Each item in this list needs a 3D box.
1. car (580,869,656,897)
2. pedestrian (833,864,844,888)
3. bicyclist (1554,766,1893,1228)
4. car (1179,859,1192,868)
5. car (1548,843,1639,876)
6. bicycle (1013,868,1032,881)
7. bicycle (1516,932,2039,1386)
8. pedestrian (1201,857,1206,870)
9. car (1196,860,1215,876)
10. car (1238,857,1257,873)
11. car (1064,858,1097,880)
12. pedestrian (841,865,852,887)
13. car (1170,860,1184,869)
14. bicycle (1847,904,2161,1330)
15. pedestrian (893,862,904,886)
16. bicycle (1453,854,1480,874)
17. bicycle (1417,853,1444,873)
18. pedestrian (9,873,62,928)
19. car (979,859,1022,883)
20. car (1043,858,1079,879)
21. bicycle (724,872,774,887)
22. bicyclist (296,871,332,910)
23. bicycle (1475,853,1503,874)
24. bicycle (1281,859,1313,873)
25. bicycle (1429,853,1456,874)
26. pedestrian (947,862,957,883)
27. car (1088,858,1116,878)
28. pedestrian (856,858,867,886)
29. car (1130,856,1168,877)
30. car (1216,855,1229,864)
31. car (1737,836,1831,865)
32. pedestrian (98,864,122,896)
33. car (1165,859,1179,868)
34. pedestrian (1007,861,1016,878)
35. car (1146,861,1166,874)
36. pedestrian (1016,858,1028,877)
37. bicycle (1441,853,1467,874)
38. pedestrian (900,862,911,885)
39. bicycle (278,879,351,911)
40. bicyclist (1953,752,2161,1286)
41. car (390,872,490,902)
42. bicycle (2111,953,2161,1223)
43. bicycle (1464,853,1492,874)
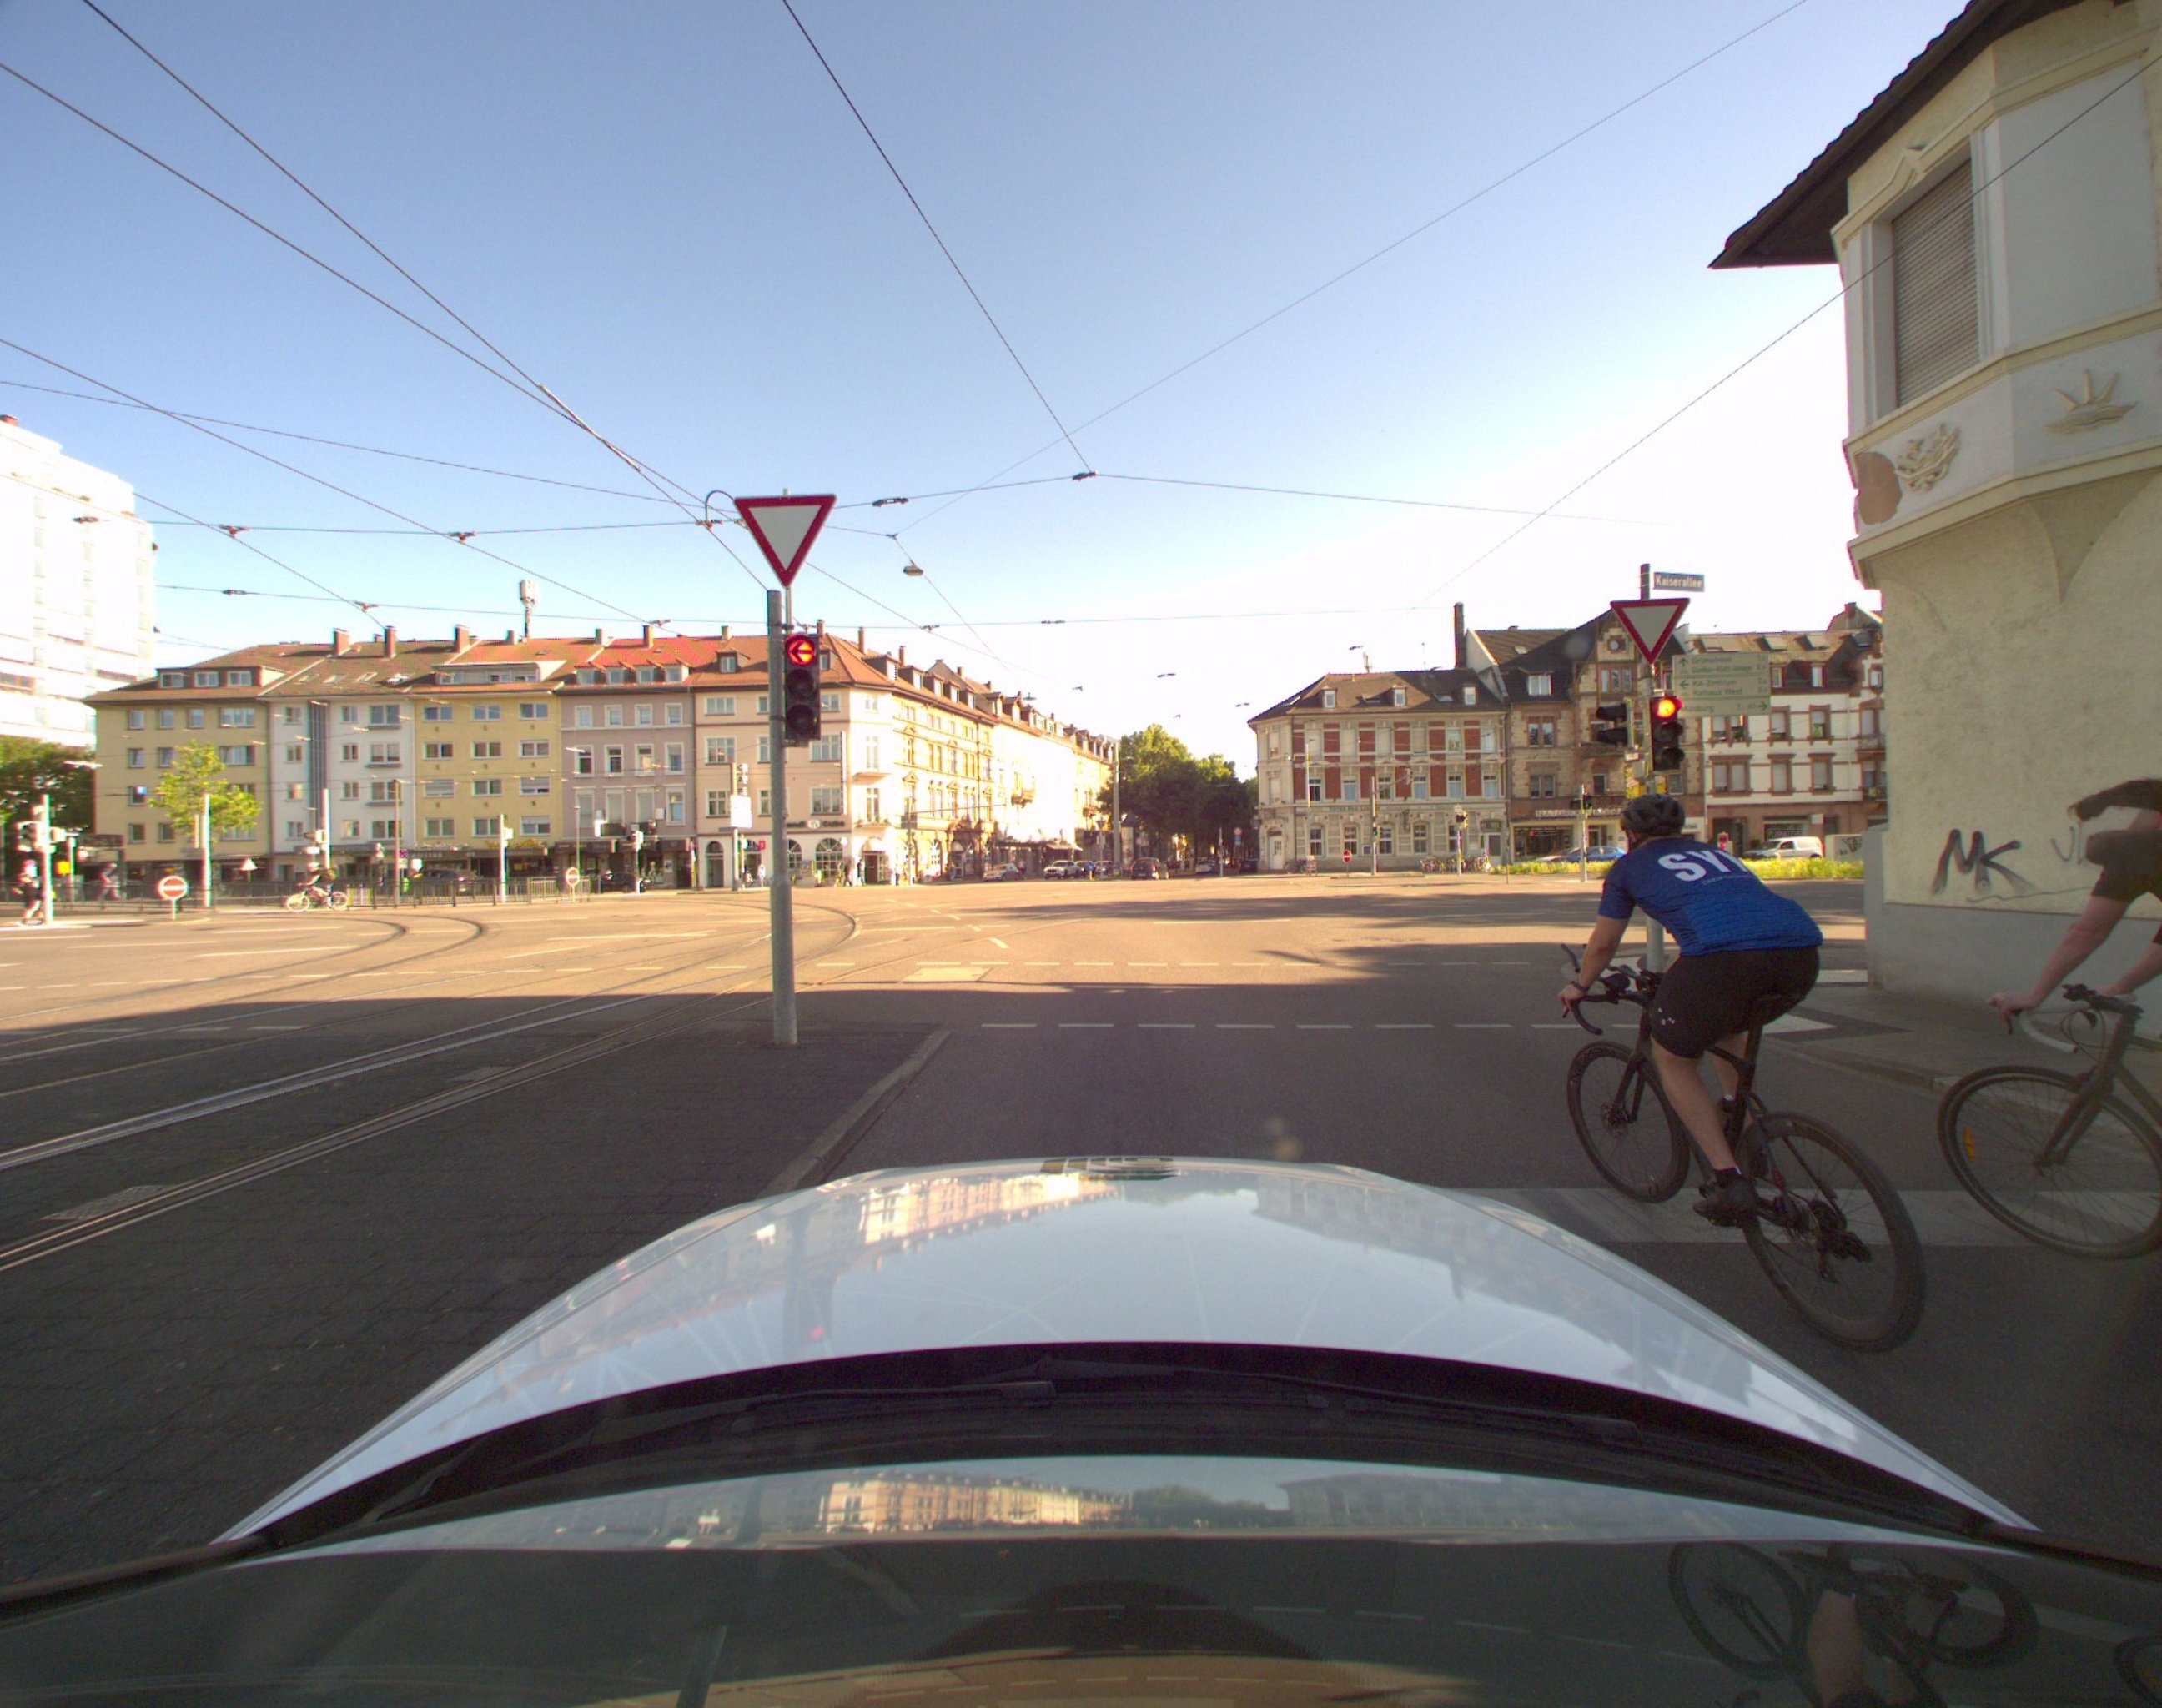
[{"bbox_3d":[-30.585,1.917,53.817,3.962,1.670,2.006,-2,0,10],"label":"car"},{"bbox_3d":[-16.525,1.464,55.430,0.631,1.612,0.465,0,-1,-2],"label":"pedestrian"},{"bbox_3d":[2.340,0.456,3.093,0.635,1.494,0.885,0,1,6],"label":"bicyclist"},{"bbox_3d":[18.279,1.718,142.176,1.546,1.513,3.673,-1,-1,19],"label":"car"},{"bbox_3d":[28.346,0.302,45.133,3.769,1.778,2.000,0,-1,1],"label":"car"},{"bbox_3d":[-4.727,1.635,65.556,0.756,1.008,2.406,-1,-1,16],"label":"bicycle"},{"bbox_3d":[2.368,0.917,3.097,0.623,1.085,1.705,0,-1,5],"label":"bicycle"},{"bbox_3d":[16.553,1.309,109.947,0.635,1.796,0.492,-1,-1,14],"label":"pedestrian"},{"bbox_3d":[11.963,1.322,78.532,1.762,1.530,4.009,0,-1,8],"label":"car"},{"bbox_3d":[16.825,1.134,82.359,1.680,1.565,3.855,-1,-1,14],"label":"car"},{"bbox_3d":[-0.011,1.369,73.822,1.979,1.904,4.015,-1,-1,14],"label":"car"},{"bbox_3d":[-15.746,1.453,54.728,0.631,1.477,0.465,0,-1,-2],"label":"pedestrian"},{"bbox_3d":[16.045,1.685,136.039,1.546,1.513,3.673,-1,-1,19],"label":"car"},{"bbox_3d":[3.661,0.829,2.639,0.752,1.236,1.702,0,-1,0],"label":"bicycle"},{"bbox_3d":[-12.633,1.361,56.364,0.631,1.634,0.700,0,-1,-2],"label":"pedestrian"},{"bbox_3d":[24.778,0.630,52.383,0.626,1.287,2.663,0,-1,3],"label":"bicycle"},{"bbox_3d":[22.482,0.581,52.467,0.689,1.287,2.663,0,-1,3],"label":"bicycle"},{"bbox_3d":[-31.698,1.395,24.701,0.697,1.634,0.681,0,-1,-3],"label":"pedestrian"},{"bbox_3d":[-6.639,1.366,67.412,1.977,1.904,4.019,-1,-1,19],"label":"car"},{"bbox_3d":[-1.626,1.188,67.585,1.979,1.618,4.015,-1,-1,14],"label":"car"},{"bbox_3d":[-23.421,1.789,57.465,3.118,0.980,1.002,0,-1,1],"label":"bicycle"},{"bbox_3d":[-27.289,1.284,28.988,0.553,1.366,0.808,-1,-1,33],"label":"bicyclist"},{"bbox_3d":[26.201,0.611,52.350,0.626,1.287,2.663,0,-1,3],"label":"bicycle"},{"bbox_3d":[15.086,0.828,56.887,2.040,0.998,0.631,-1,-1,4],"label":"bicycle"},{"bbox_3d":[23.264,0.592,52.418,0.689,1.287,2.663,0,-1,3],"label":"bicycle"},{"bbox_3d":[-10.336,1.474,65.295,0.539,1.631,0.709,-1,-1,15],"label":"pedestrian"},{"bbox_3d":[2.085,1.403,79.972,1.979,1.904,4.015,-1,-1,14],"label":"car"},{"bbox_3d":[-15.090,1.219,55.873,0.631,1.881,0.465,0,-1,-2],"label":"pedestrian"},{"bbox_3d":[4.631,0.822,54.812,1.740,1.362,3.873,-1,-1,18],"label":"car"},{"bbox_3d":[23.287,0.914,134.315,1.546,1.513,3.673,-1,-1,19],"label":"car"},{"bbox_3d":[45.315,-0.227,52.563,4.349,1.778,2.000,0,-1,1],"label":"car"},{"bbox_3d":[-49.850,1.323,41.828,0.523,1.628,0.577,0,-1,0],"label":"pedestrian"},{"bbox_3d":[14.714,1.561,131.893,1.546,1.513,3.673,-1,-1,19],"label":"car"},{"bbox_3d":[-6.509,1.434,76.286,0.539,1.631,0.709,-1,-1,15],"label":"pedestrian"},{"bbox_3d":[11.295,2.073,122.691,1.977,1.904,4.019,-1,-1,19],"label":"car"},{"bbox_3d":[-4.755,1.105,65.487,0.814,1.512,0.601,-1,-1,16],"label":"pedestrian"},{"bbox_3d":[23.988,0.589,52.411,0.626,1.287,2.663,0,-1,3],"label":"bicycle"},{"bbox_3d":[-12.376,1.375,57.534,0.631,1.634,0.700,0,-1,-2],"label":"pedestrian"},{"bbox_3d":[-27.310,1.455,29.034,0.567,1.070,1.806,-1,-1,32],"label":"bicycle"},{"bbox_3d":[3.649,0.494,2.581,0.803,1.606,0.883,0,-1,0],"label":"bicyclist"},{"bbox_3d":[-36.161,1.839,45.996,4.148,1.618,1.955,0,-1,3],"label":"car"},{"bbox_3d":[4.483,0.911,2.418,0.647,1.031,1.772,0,-1,3],"label":"bicycle"},{"bbox_3d":[25.506,0.610,52.379,0.626,1.287,2.663,0,-1,3],"label":"bicycle"}]
